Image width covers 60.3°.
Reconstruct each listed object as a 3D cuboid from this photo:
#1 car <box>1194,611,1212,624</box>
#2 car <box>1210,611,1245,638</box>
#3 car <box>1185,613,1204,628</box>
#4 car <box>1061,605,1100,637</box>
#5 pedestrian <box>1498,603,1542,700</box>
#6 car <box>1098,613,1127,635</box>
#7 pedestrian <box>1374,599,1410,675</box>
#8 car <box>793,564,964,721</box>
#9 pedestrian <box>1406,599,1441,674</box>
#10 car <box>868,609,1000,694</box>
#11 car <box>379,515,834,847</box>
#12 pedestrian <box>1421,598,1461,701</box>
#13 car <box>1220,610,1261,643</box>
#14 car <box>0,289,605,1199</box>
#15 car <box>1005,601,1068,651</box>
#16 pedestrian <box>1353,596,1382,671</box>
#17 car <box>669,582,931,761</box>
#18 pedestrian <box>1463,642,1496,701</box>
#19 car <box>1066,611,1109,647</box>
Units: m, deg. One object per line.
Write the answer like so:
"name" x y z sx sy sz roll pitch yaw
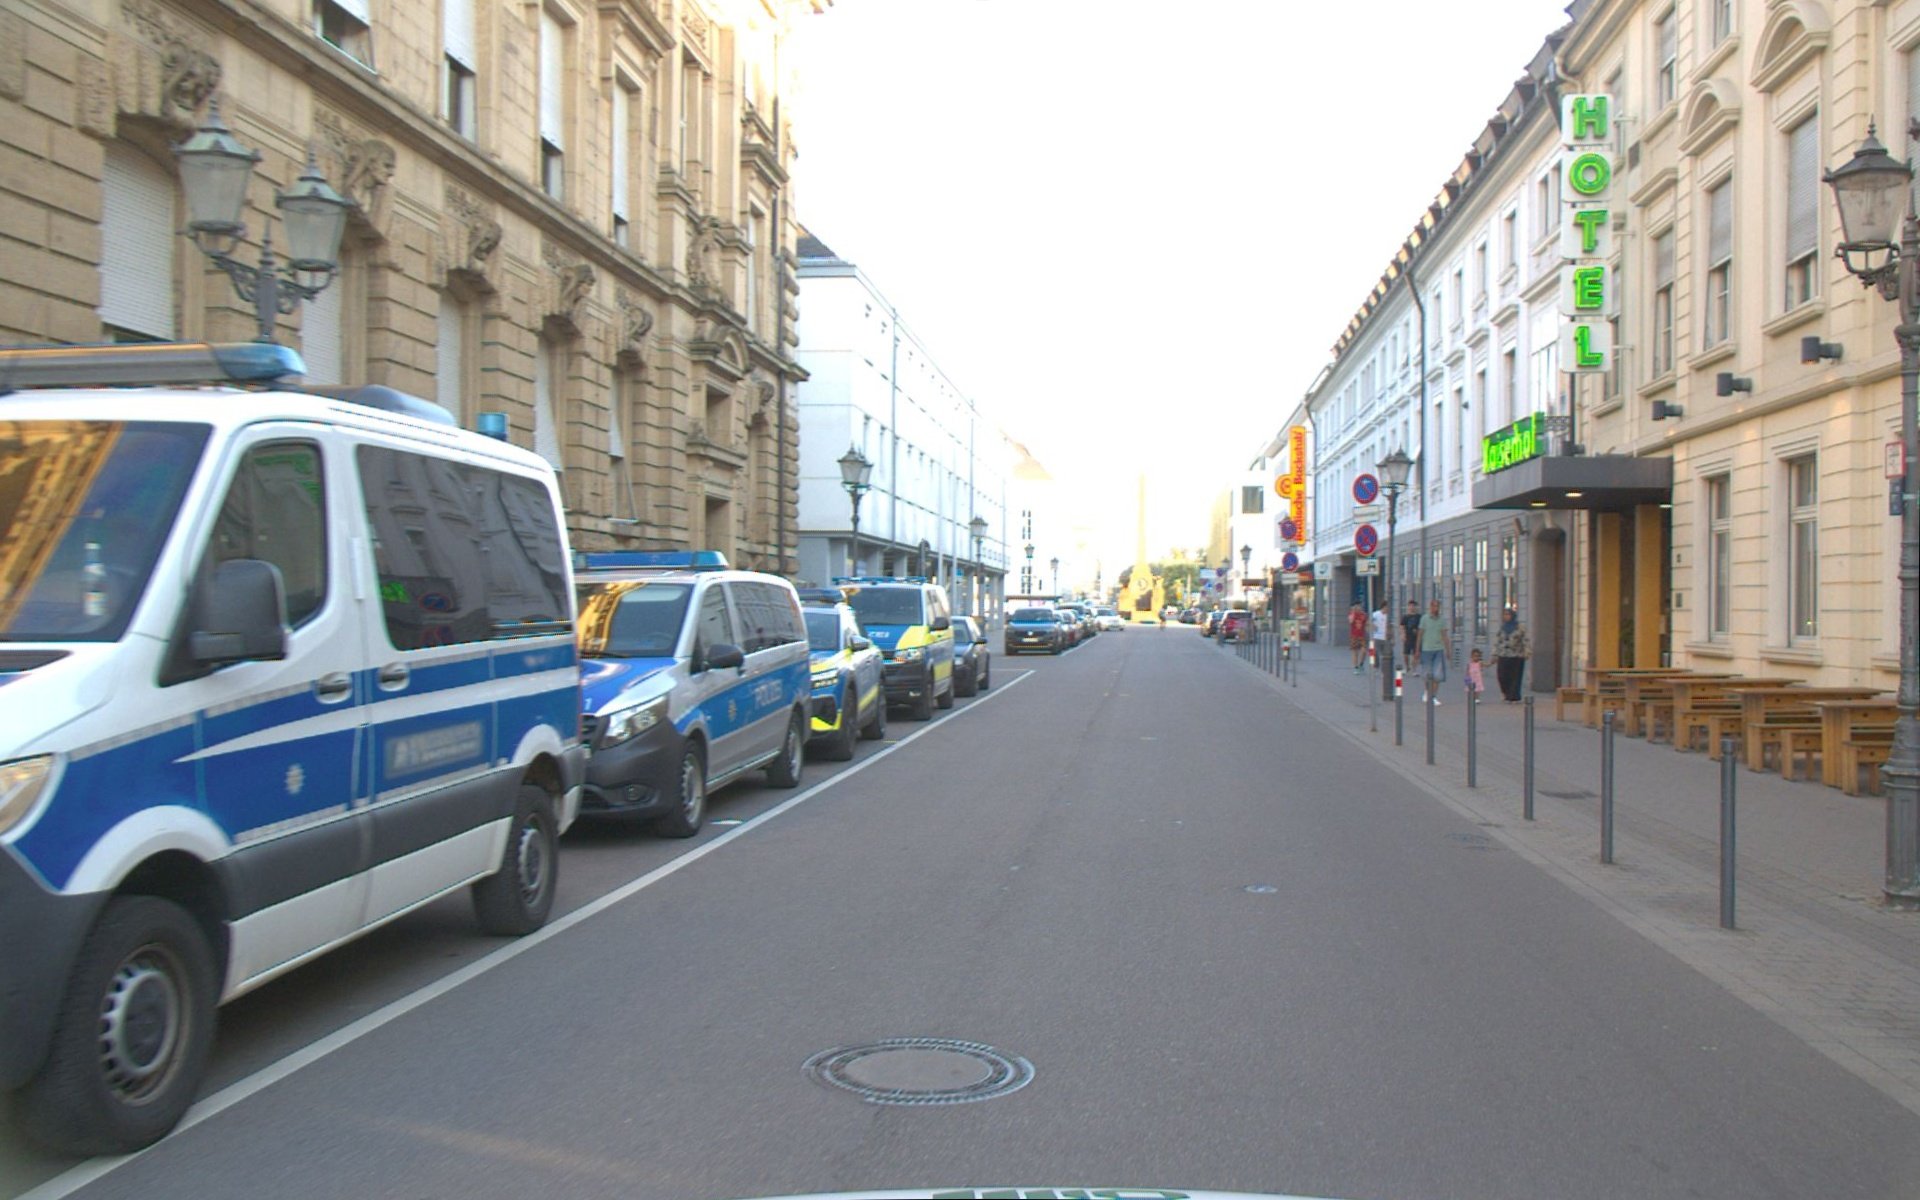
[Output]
"car" 26.685 1.907 181.905 1.951 1.490 4.003 0 0 8
"car" 14.928 1.340 92.345 1.763 1.490 4.120 0 0 7
"car" 24.629 2.138 173.484 1.951 1.490 4.003 0 0 8
"car" 6.749 1.151 92.196 1.951 1.691 4.003 0 0 7
"pedestrian" 9.585 0.869 28.317 0.616 1.629 0.615 0 -1 8
"car" 9.979 1.551 108.102 1.747 1.433 4.091 0 0 8
"pedestrian" 10.200 0.865 39.069 0.732 1.760 0.882 0 -1 10
"car" -1.099 0.617 24.888 1.951 2.114 4.992 0 -1 4
"pedestrian" 10.981 0.857 39.172 0.698 1.760 0.874 0 -1 9
"car" -0.411 0.944 31.631 1.951 1.521 4.167 0 -1 7
"car" -2.499 0.551 13.289 1.951 2.124 5.211 0 -1 7
"pedestrian" 8.375 0.854 28.783 0.594 1.760 0.559 0 -1 8
"car" 13.304 1.241 78.577 1.722 1.550 3.680 0 0 7
"car" -3.060 0.381 6.216 1.951 2.209 5.210 0 0 4
"car" 2.592 0.853 55.524 1.747 1.643 4.169 0 0 8
"pedestrian" 10.025 0.809 40.704 0.607 1.821 0.914 0 -1 8
"car" -1.656 0.742 19.083 1.951 1.783 4.993 0 -1 7
"pedestrian" 9.022 1.242 28.731 0.450 0.997 0.559 0 -1 8
"car" 6.586 1.466 84.922 1.951 1.758 4.519 -1 -1 7
